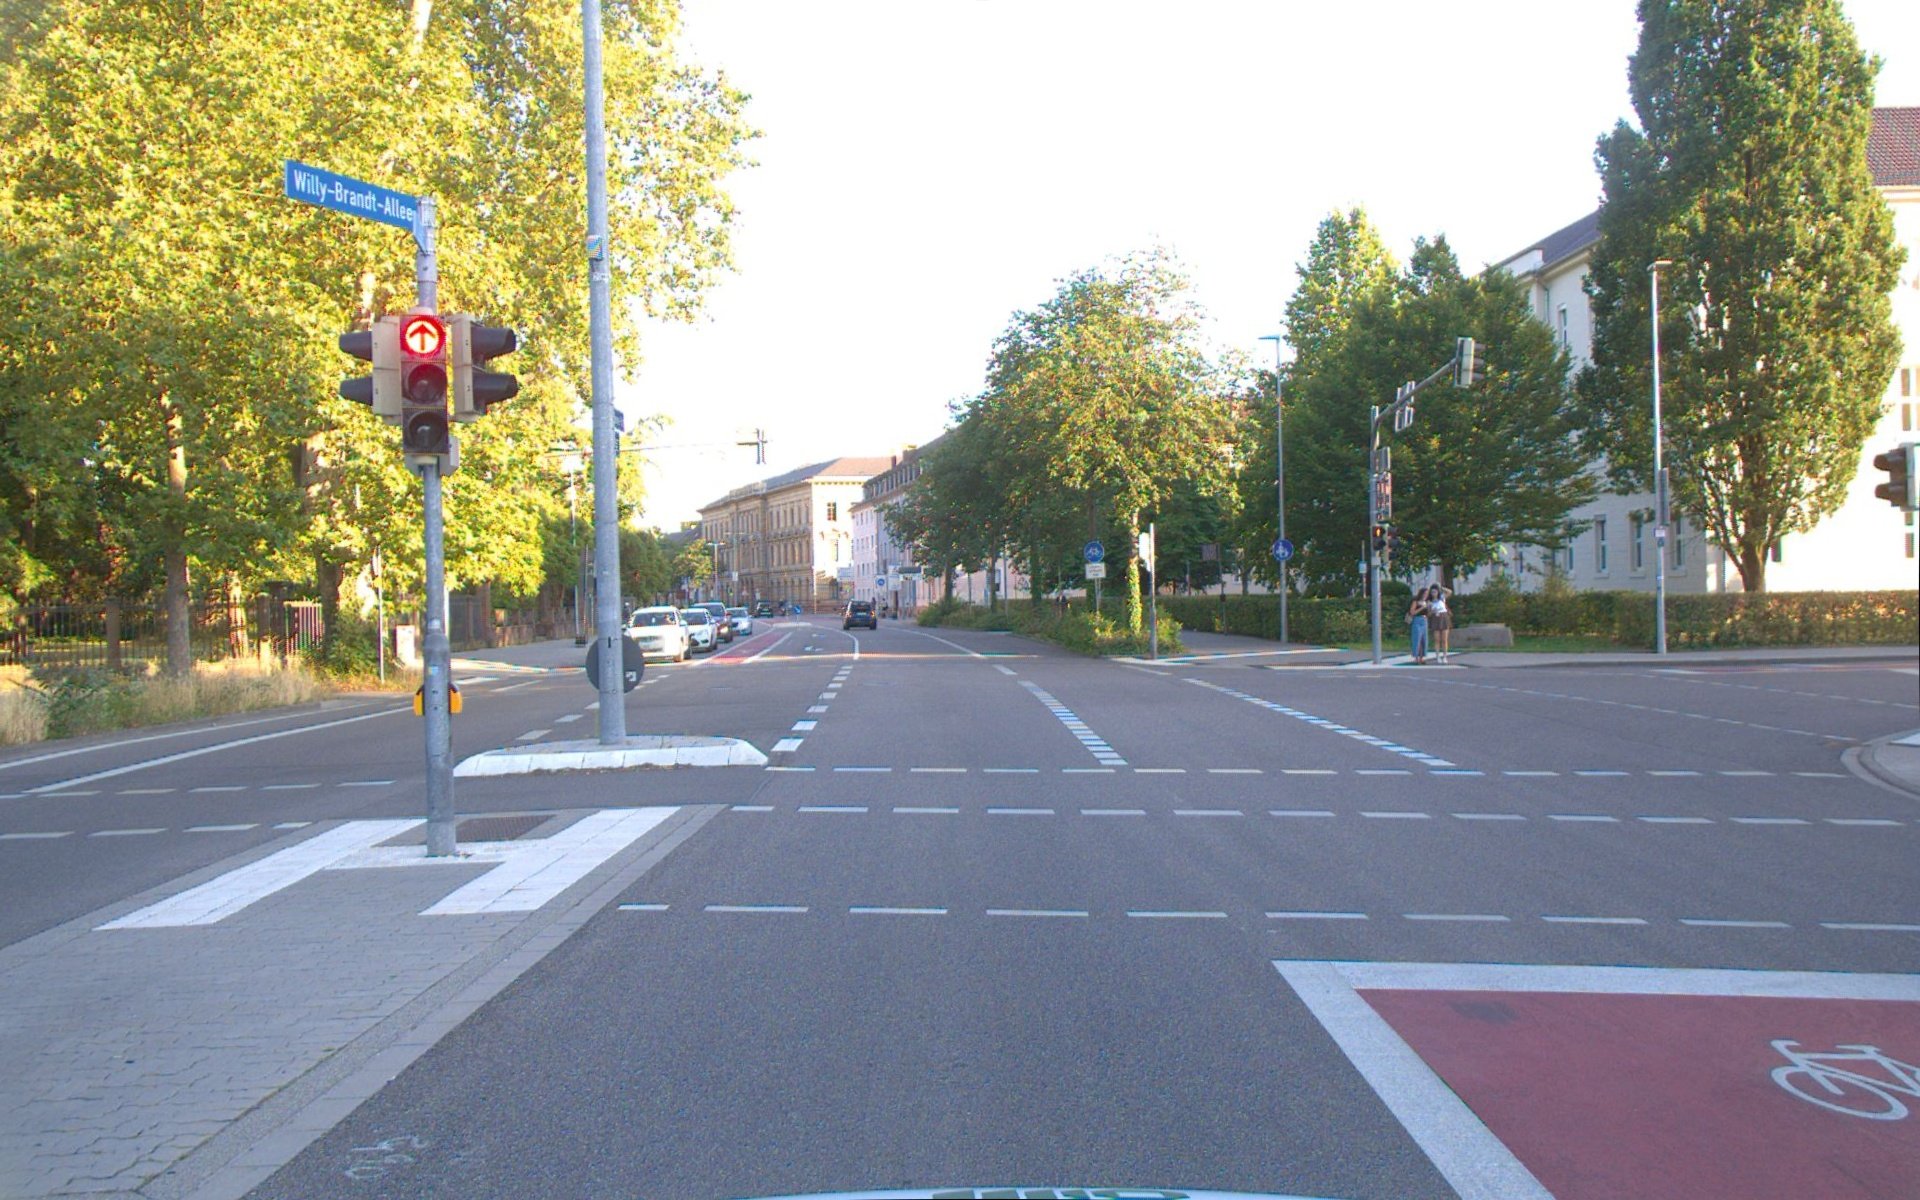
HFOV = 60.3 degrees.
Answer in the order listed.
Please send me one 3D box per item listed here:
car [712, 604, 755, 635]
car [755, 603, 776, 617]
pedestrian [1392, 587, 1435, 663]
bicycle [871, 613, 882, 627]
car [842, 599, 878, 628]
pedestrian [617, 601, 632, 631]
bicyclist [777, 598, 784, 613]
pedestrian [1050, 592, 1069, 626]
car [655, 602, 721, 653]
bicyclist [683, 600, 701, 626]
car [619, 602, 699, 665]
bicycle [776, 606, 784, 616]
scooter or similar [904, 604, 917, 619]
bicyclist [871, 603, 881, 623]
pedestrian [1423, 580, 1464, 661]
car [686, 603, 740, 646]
[{"bbox_3d":[-11.644,0.996,85.376,1.879,1.442,4.765,-3,0,-5],"label":"car"},{"bbox_3d":[-20.805,1.073,176.546,1.882,1.442,4.757,-3,0,-11],"label":"car"},{"bbox_3d":[10.141,0.555,37.006,0.667,1.650,0.845,-1,0,-1],"label":"pedestrian"},{"bbox_3d":[-6.252,1.466,123.572,0.640,1.033,2.193,1,0,-9],"label":"bicycle"},{"bbox_3d":[-5.380,0.739,89.335,1.830,1.536,3.998,-1,0,-3],"label":"car"},{"bbox_3d":[-18.379,0.864,90.599,0.667,1.650,0.688,-1,0,-1],"label":"pedestrian"},{"bbox_3d":[-19.906,0.603,183.147,0.640,1.727,0.954,1,-1,-12],"label":"bicyclist"},{"bbox_3d":[5.220,0.473,86.688,0.756,1.769,0.805,-1,0,-10],"label":"pedestrian"},{"bbox_3d":[-9.644,0.952,58.912,1.879,1.611,4.669,-3,0,-5],"label":"car"},{"bbox_3d":[-15.081,0.734,93.064,0.838,1.456,0.943,-1,0,-1],"label":"bicyclist"},{"bbox_3d":[-9.086,0.972,50.226,1.879,1.725,4.422,-3,0,-5],"label":"car"},{"bbox_3d":[-19.909,1.227,183.111,0.640,1.033,2.191,1,0,-11],"label":"bicycle"},{"bbox_3d":[-4.384,1.010,145.265,0.619,1.360,2.391,-1,0,-14],"label":"scooter or similar"},{"bbox_3d":[-6.245,0.974,123.575,0.640,1.501,0.939,1,0,-9],"label":"bicyclist"},{"bbox_3d":[10.827,0.445,37.037,0.667,1.784,0.688,-1,0,-1],"label":"pedestrian"},{"bbox_3d":[-10.445,1.008,70.249,1.879,1.653,4.634,-3,0,-5],"label":"car"}]
